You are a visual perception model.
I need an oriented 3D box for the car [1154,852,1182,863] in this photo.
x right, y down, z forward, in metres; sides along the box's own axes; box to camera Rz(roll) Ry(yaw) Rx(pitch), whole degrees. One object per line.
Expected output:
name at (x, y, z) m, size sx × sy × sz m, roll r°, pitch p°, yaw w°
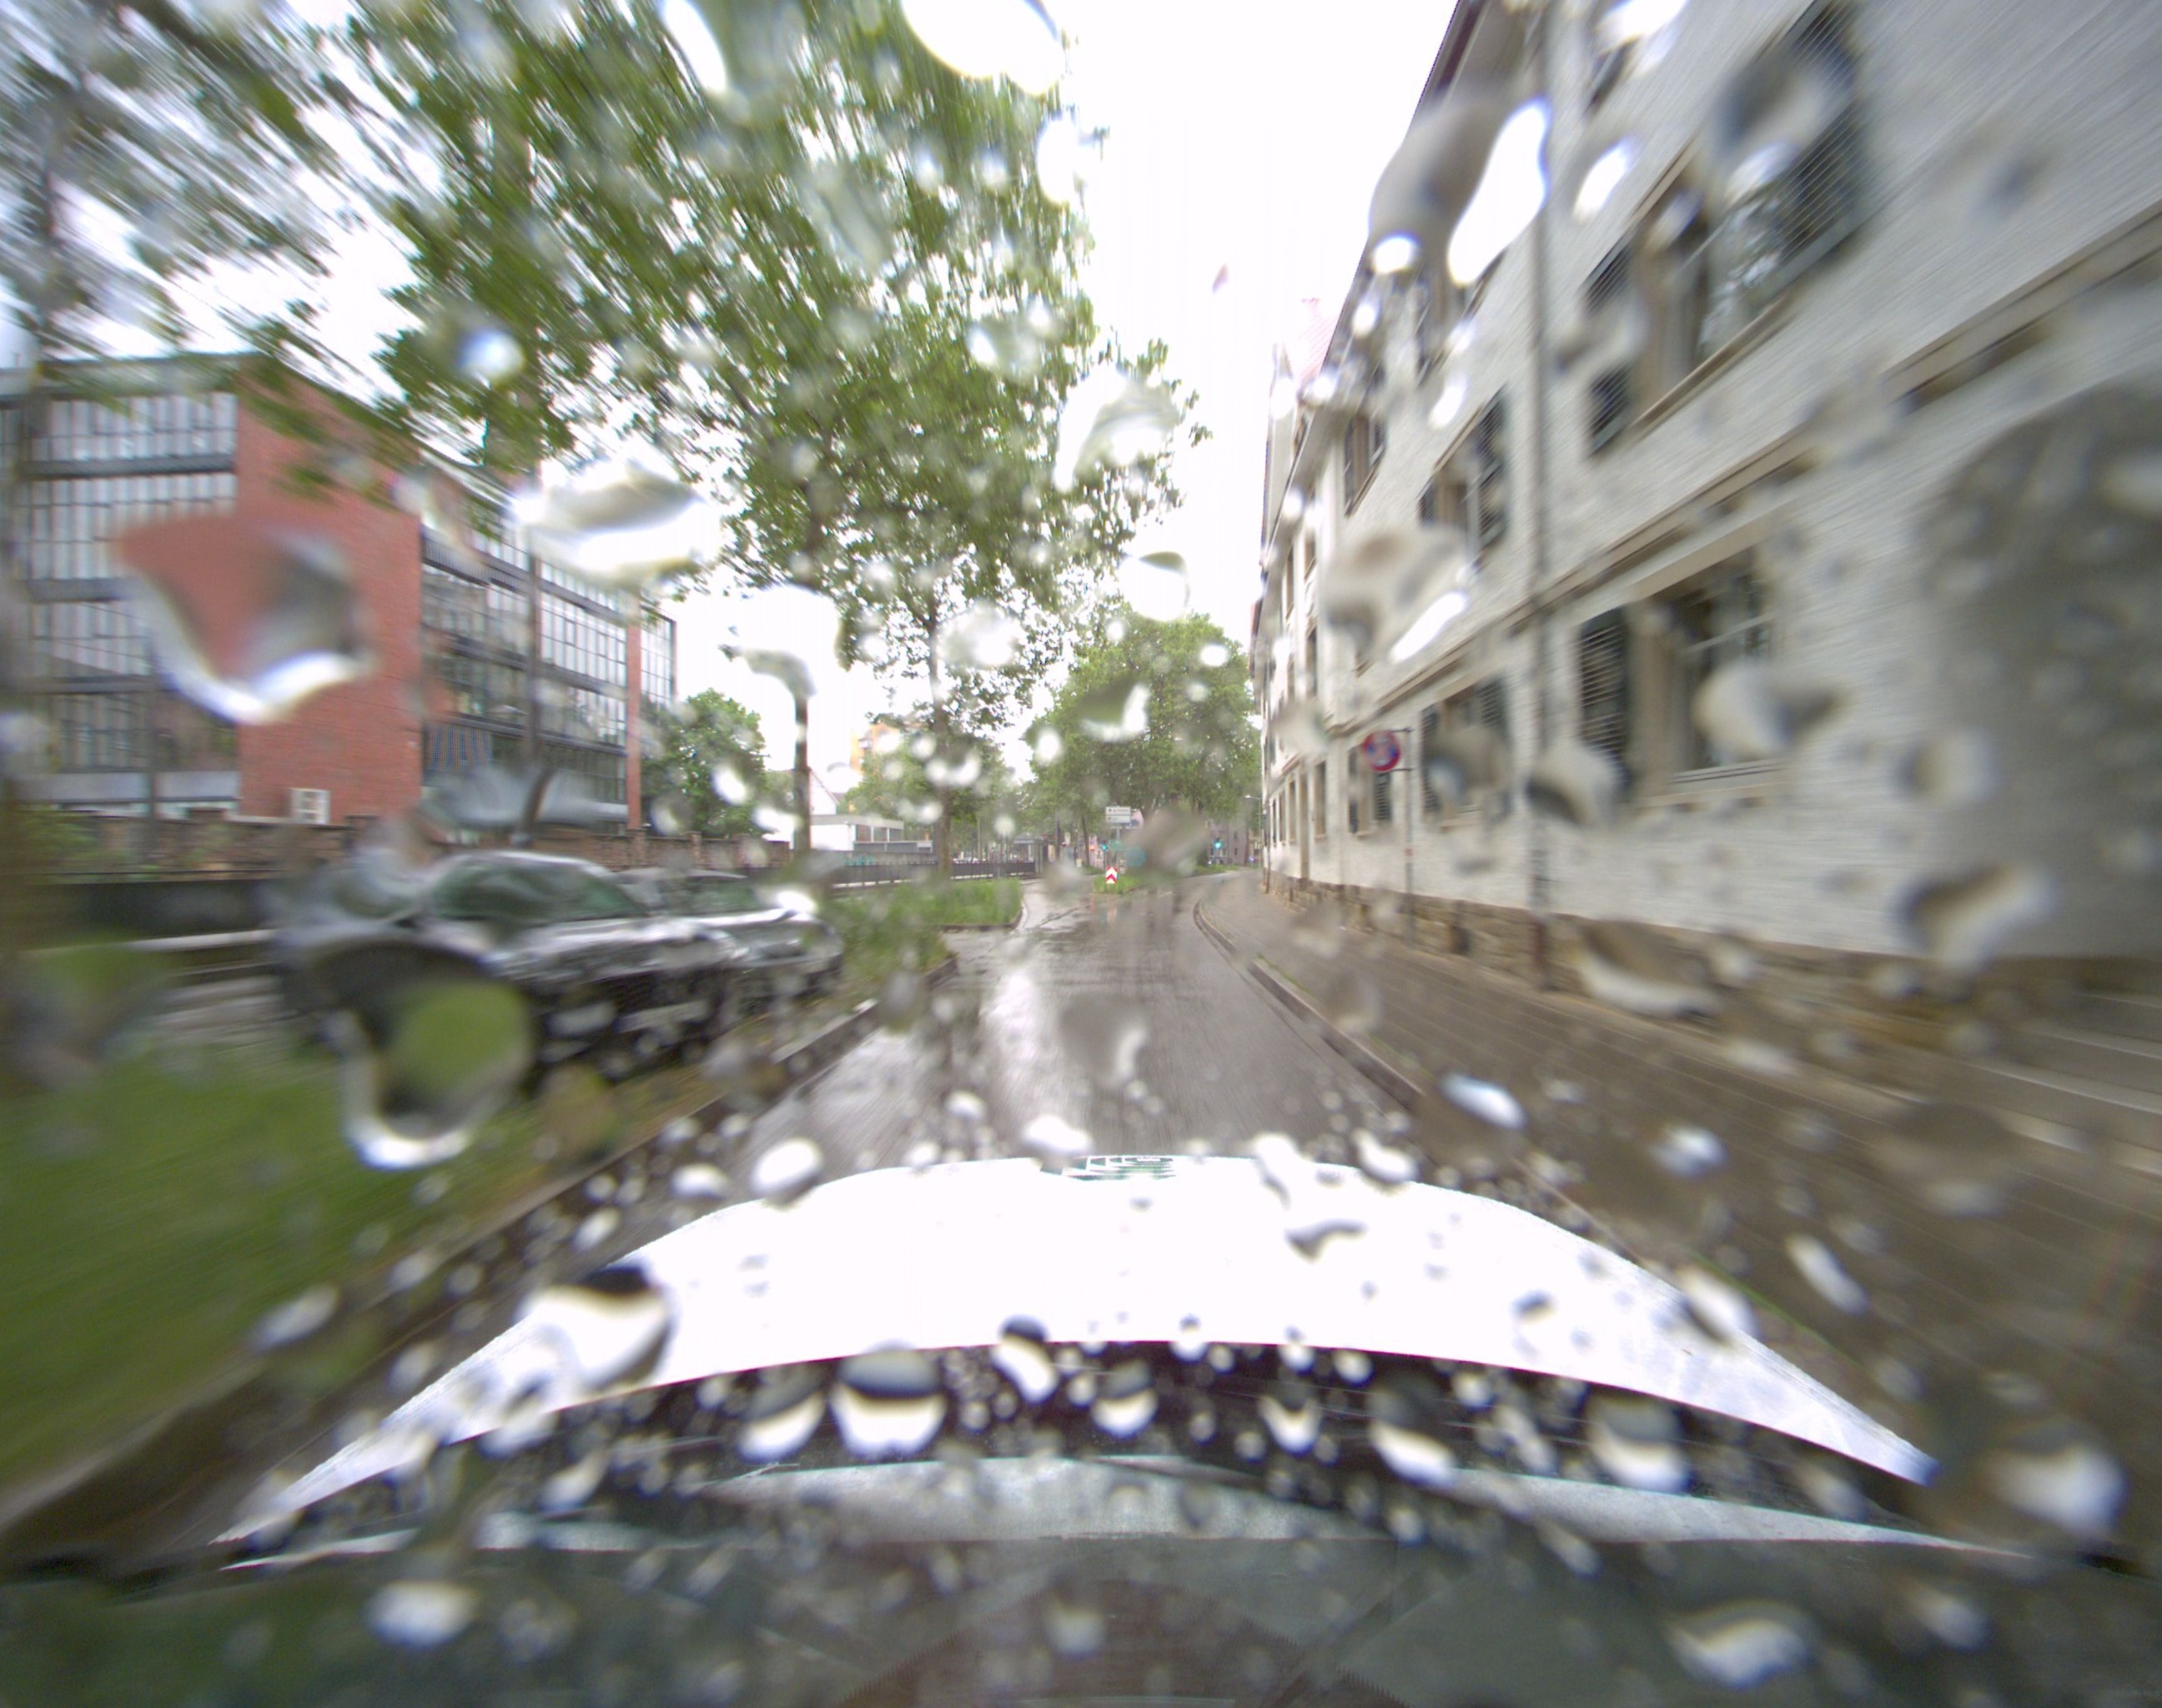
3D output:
car at (13.204, 0.551, 123.593) m, size 4.021 × 1.597 × 1.976 m, roll 1°, pitch -1°, yaw -42°

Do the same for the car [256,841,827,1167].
car at (-4.382, 0.886, 6.446) m, size 4.474 × 1.714 × 1.973 m, roll -2°, pitch 1°, yaw 32°

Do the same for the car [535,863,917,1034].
car at (-4.280, 0.982, 9.675) m, size 4.308 × 1.512 × 1.973 m, roll -2°, pitch 1°, yaw 32°
